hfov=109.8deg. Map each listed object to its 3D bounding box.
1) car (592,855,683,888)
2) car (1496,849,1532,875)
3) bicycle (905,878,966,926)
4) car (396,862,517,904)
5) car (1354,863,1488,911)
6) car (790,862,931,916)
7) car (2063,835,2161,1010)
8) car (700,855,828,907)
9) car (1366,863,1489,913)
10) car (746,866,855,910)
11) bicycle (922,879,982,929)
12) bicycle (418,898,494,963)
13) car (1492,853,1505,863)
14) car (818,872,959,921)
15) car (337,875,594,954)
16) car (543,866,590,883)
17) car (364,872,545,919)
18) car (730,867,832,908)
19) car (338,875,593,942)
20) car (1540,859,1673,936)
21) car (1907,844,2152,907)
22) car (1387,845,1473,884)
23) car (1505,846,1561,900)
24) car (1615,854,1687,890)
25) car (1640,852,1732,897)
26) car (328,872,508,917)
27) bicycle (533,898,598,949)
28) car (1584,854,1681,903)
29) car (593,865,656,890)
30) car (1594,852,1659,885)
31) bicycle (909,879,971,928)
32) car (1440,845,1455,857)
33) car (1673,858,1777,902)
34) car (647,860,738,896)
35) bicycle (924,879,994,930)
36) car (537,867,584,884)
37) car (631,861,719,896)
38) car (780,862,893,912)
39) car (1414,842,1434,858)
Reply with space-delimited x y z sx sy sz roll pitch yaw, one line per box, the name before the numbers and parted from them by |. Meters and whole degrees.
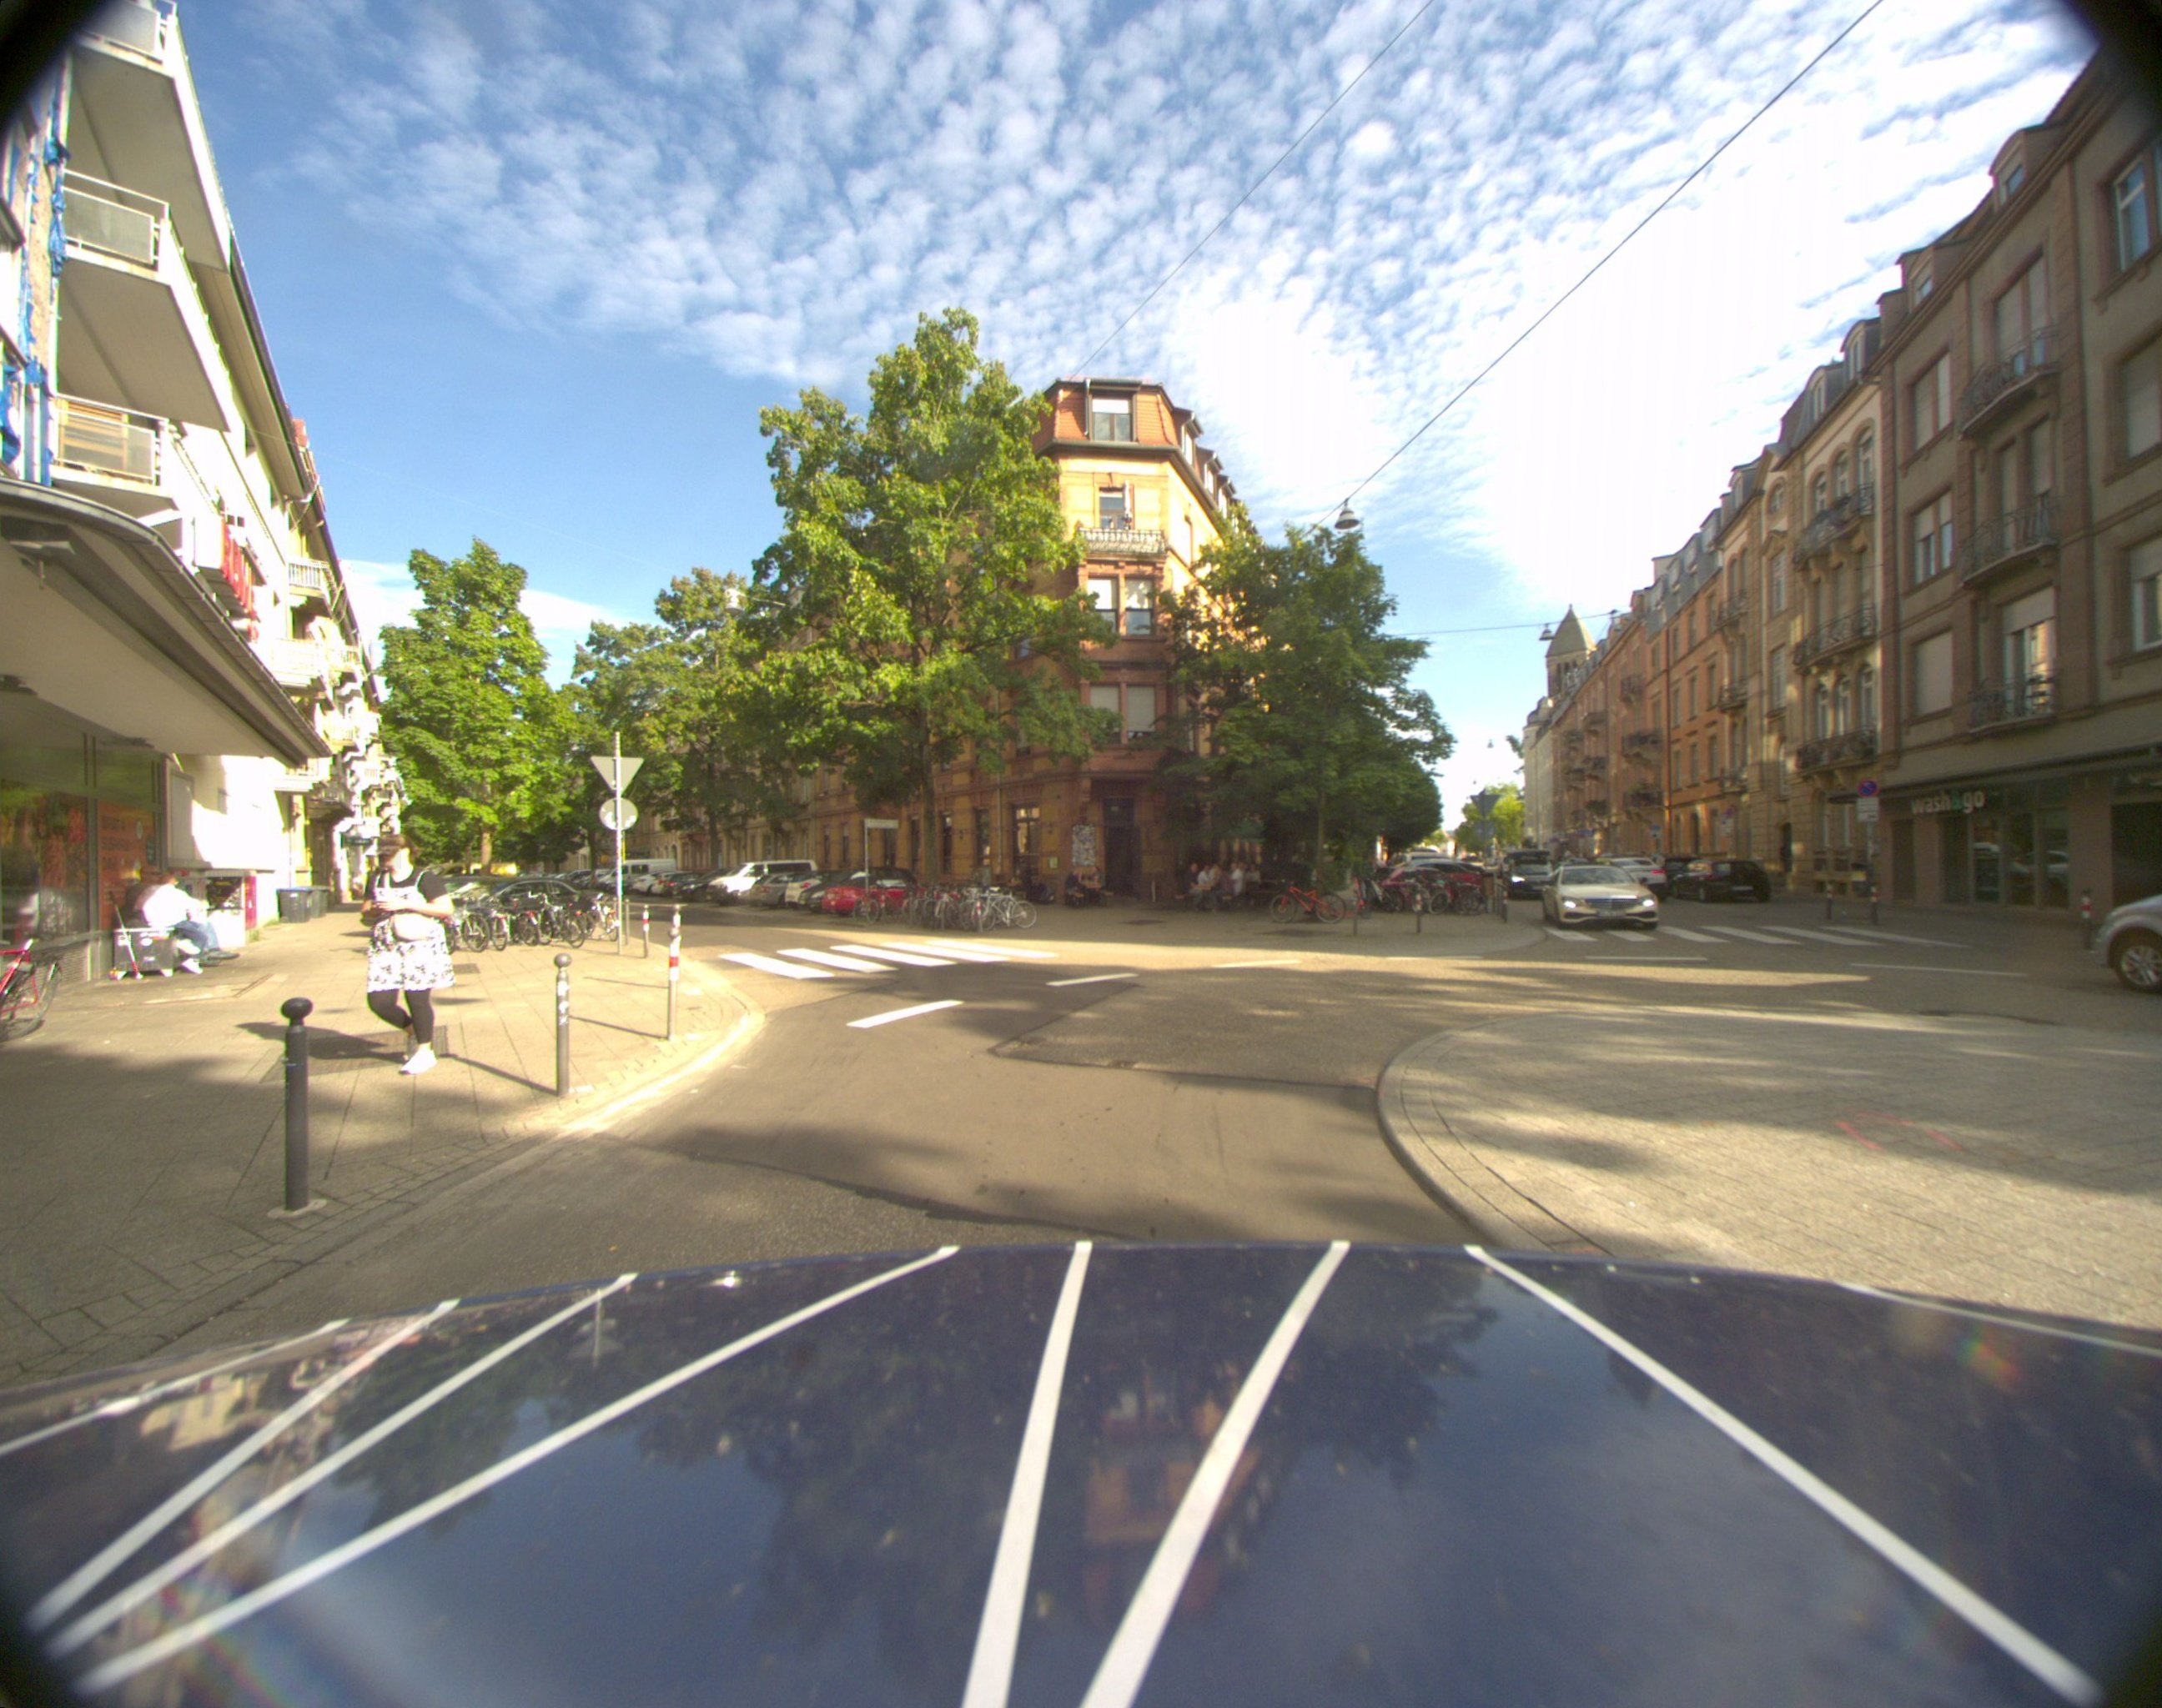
car | -32.532 1.275 55.813 5.493 2.188 1.995 -1 -1 -39
car | 33.795 0.603 59.431 1.940 1.868 4.845 -2 -1 24
bicycle | -4.051 1.323 21.300 0.447 1.195 1.716 0 2 42
car | -34.657 1.583 42.351 2.143 2.207 4.818 -1 -2 19
car | 10.820 1.042 24.312 3.585 1.372 1.513 1 0 0
car | -7.807 1.195 27.015 4.319 1.560 2.002 -3 1 -34
car | 11.563 0.684 6.395 1.831 1.780 4.337 0 0 16
car | -14.510 1.176 34.919 4.920 1.978 2.041 -4 3 -43
car | 12.065 1.156 26.610 3.584 1.606 1.514 1 0 2
car | -11.285 1.340 30.640 3.714 1.449 1.666 -4 1 -38
bicycle | -3.450 1.324 20.464 0.447 1.195 1.715 0 2 36
bicycle | -11.497 1.376 13.960 1.694 1.079 0.422 0 0 27
car | 65.199 0.617 118.630 1.622 1.371 3.768 -1 0 26
car | -6.200 1.336 24.728 4.120 1.263 1.564 -3 0 -42
car | -13.377 1.220 16.770 1.805 1.446 4.008 0 -1 30
car | -55.173 2.214 81.498 4.008 1.721 1.825 -1 -1 -41
car | -21.810 1.412 26.708 1.746 1.486 4.638 -1 -2 23
car | -12.960 1.410 32.902 3.714 1.449 1.665 -4 2 -38
car | -15.058 1.264 18.994 1.953 1.446 4.673 -1 -2 15
car | 12.384 0.939 18.232 1.940 1.587 4.845 -2 -1 27
car | 27.378 0.633 22.121 3.992 1.611 2.003 -2 -1 17
car | 23.027 0.701 50.157 4.738 2.408 1.999 -2 -1 -7
car | 18.462 0.733 31.195 1.789 2.051 4.008 -1 0 28
car | 26.075 0.799 34.928 1.759 1.487 4.140 -2 -1 24
car | 23.836 0.763 30.120 1.858 1.575 4.406 -2 -1 26
car | -23.968 1.417 27.708 1.746 1.486 4.638 -1 -2 23
bicycle | -10.942 1.457 16.129 1.420 0.995 0.494 -1 -1 25
car | 19.862 0.879 27.595 1.995 1.624 4.853 -2 -2 26
car | -37.400 1.933 62.288 4.134 1.862 1.995 -1 -1 -39
car | 28.315 0.738 39.600 1.759 1.588 4.349 -2 -1 22
bicycle | -3.854 1.329 20.846 0.447 1.195 1.716 0 2 42
car | 58.928 -0.493 122.196 1.995 1.877 4.008 -2 -1 27
car | 21.698 0.837 25.769 1.720 1.360 3.836 -2 -1 26
car | -23.715 1.432 46.488 4.467 1.823 1.931 -4 3 -43
bicycle | -3.161 1.298 19.799 1.714 1.195 0.447 -2 2 -27
car | -56.943 2.307 83.168 4.008 1.721 1.825 -1 -1 -41
car | -25.518 1.520 47.874 4.467 1.823 1.931 -4 3 -43
car | -9.382 1.234 29.257 3.715 1.710 1.856 -1 -1 -38
car | 41.185 -0.475 91.265 1.847 1.724 4.006 -2 -1 20
